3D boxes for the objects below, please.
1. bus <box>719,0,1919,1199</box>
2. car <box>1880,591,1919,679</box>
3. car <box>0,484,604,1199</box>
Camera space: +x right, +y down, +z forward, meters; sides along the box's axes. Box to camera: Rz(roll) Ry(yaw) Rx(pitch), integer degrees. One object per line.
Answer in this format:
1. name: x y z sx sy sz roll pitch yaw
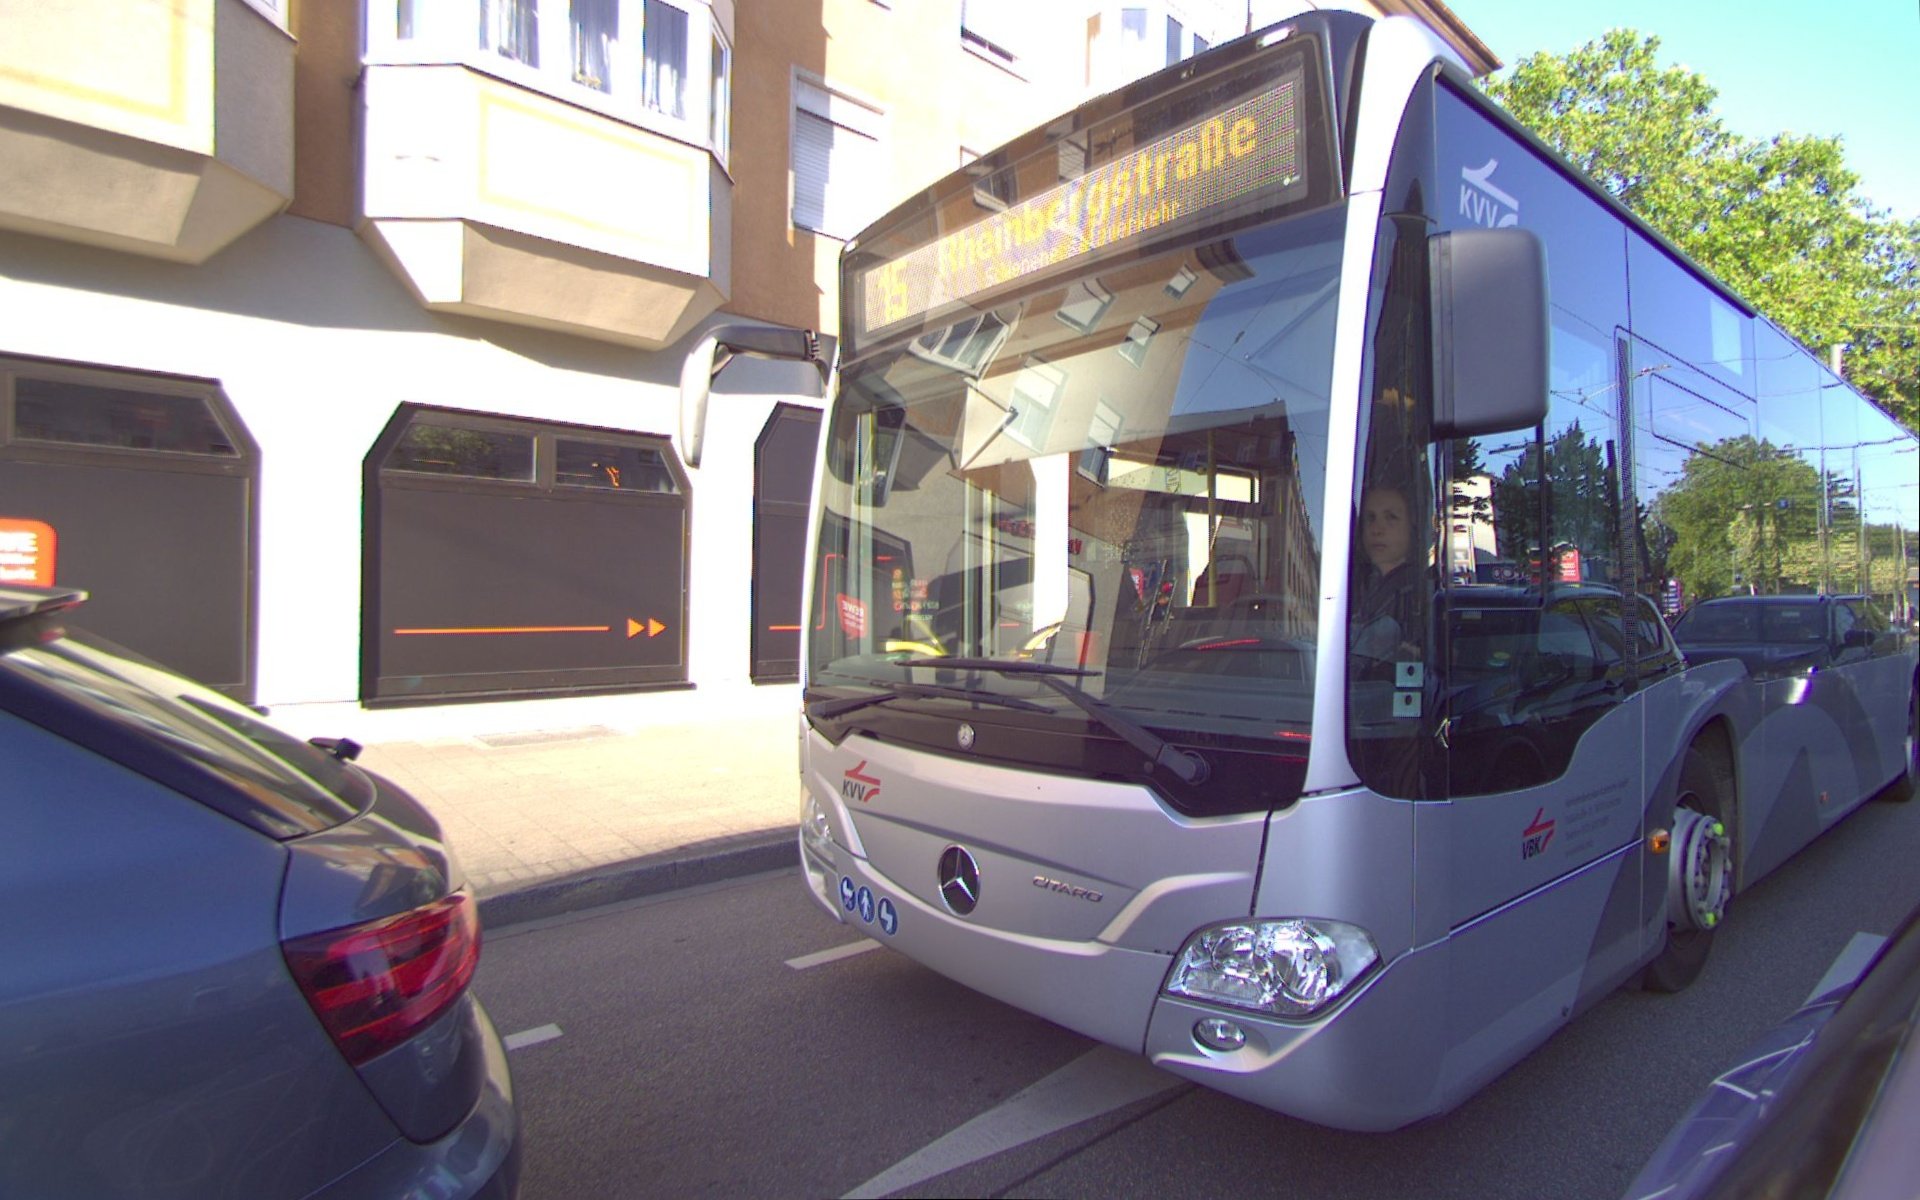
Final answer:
1. bus: 6.506 -0.151 8.691 17.432 3.189 2.771 0 1 -41
2. car: 19.484 0.638 19.887 3.759 1.628 1.747 -1 0 -43
3. car: -2.593 0.662 0.631 4.151 1.572 1.700 0 1 -41
